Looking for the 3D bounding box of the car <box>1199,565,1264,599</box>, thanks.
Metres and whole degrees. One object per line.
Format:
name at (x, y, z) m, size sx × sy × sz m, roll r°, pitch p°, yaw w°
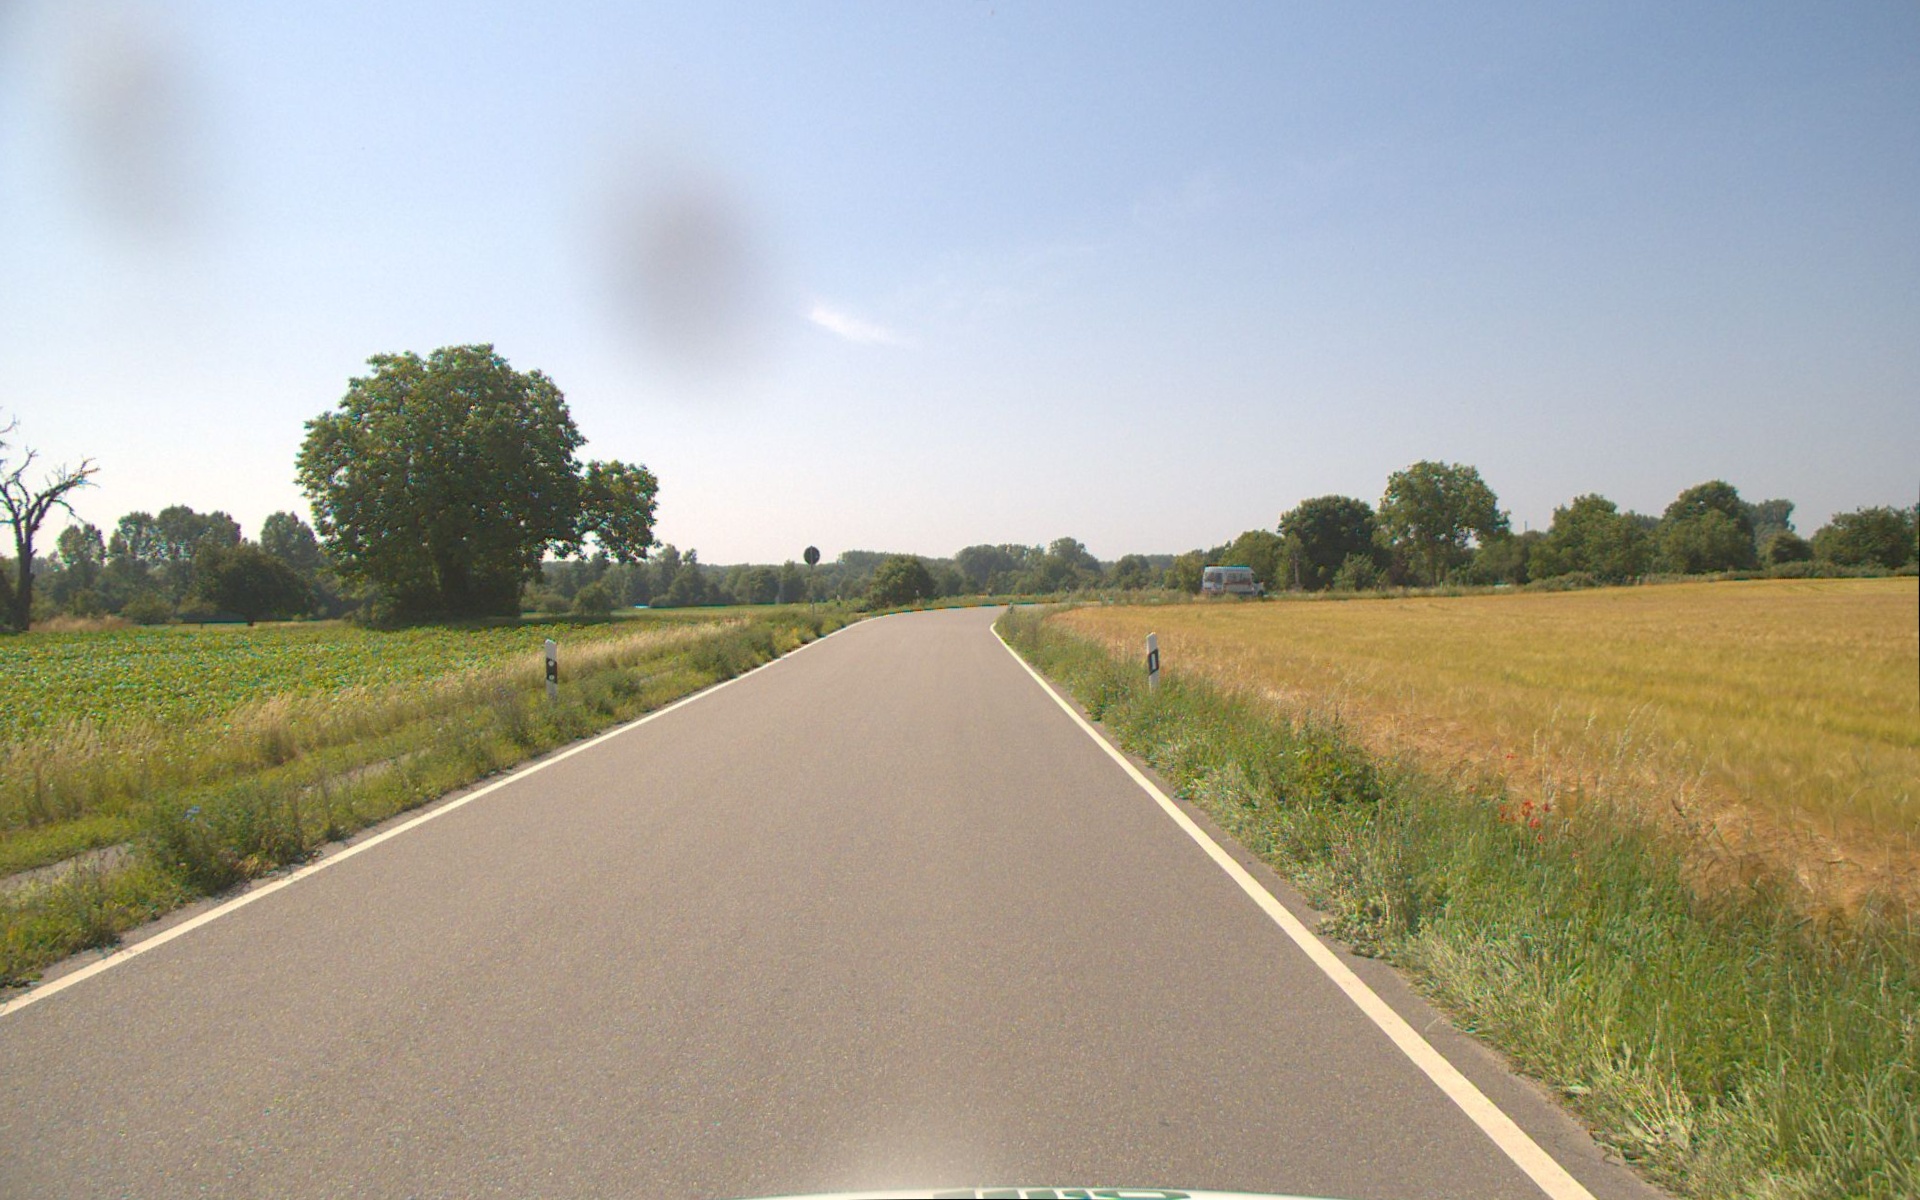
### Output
car at (20.266, -1.357, 123.124) m, size 2.073 × 2.408 × 5.655 m, roll -2°, pitch 0°, yaw 41°
